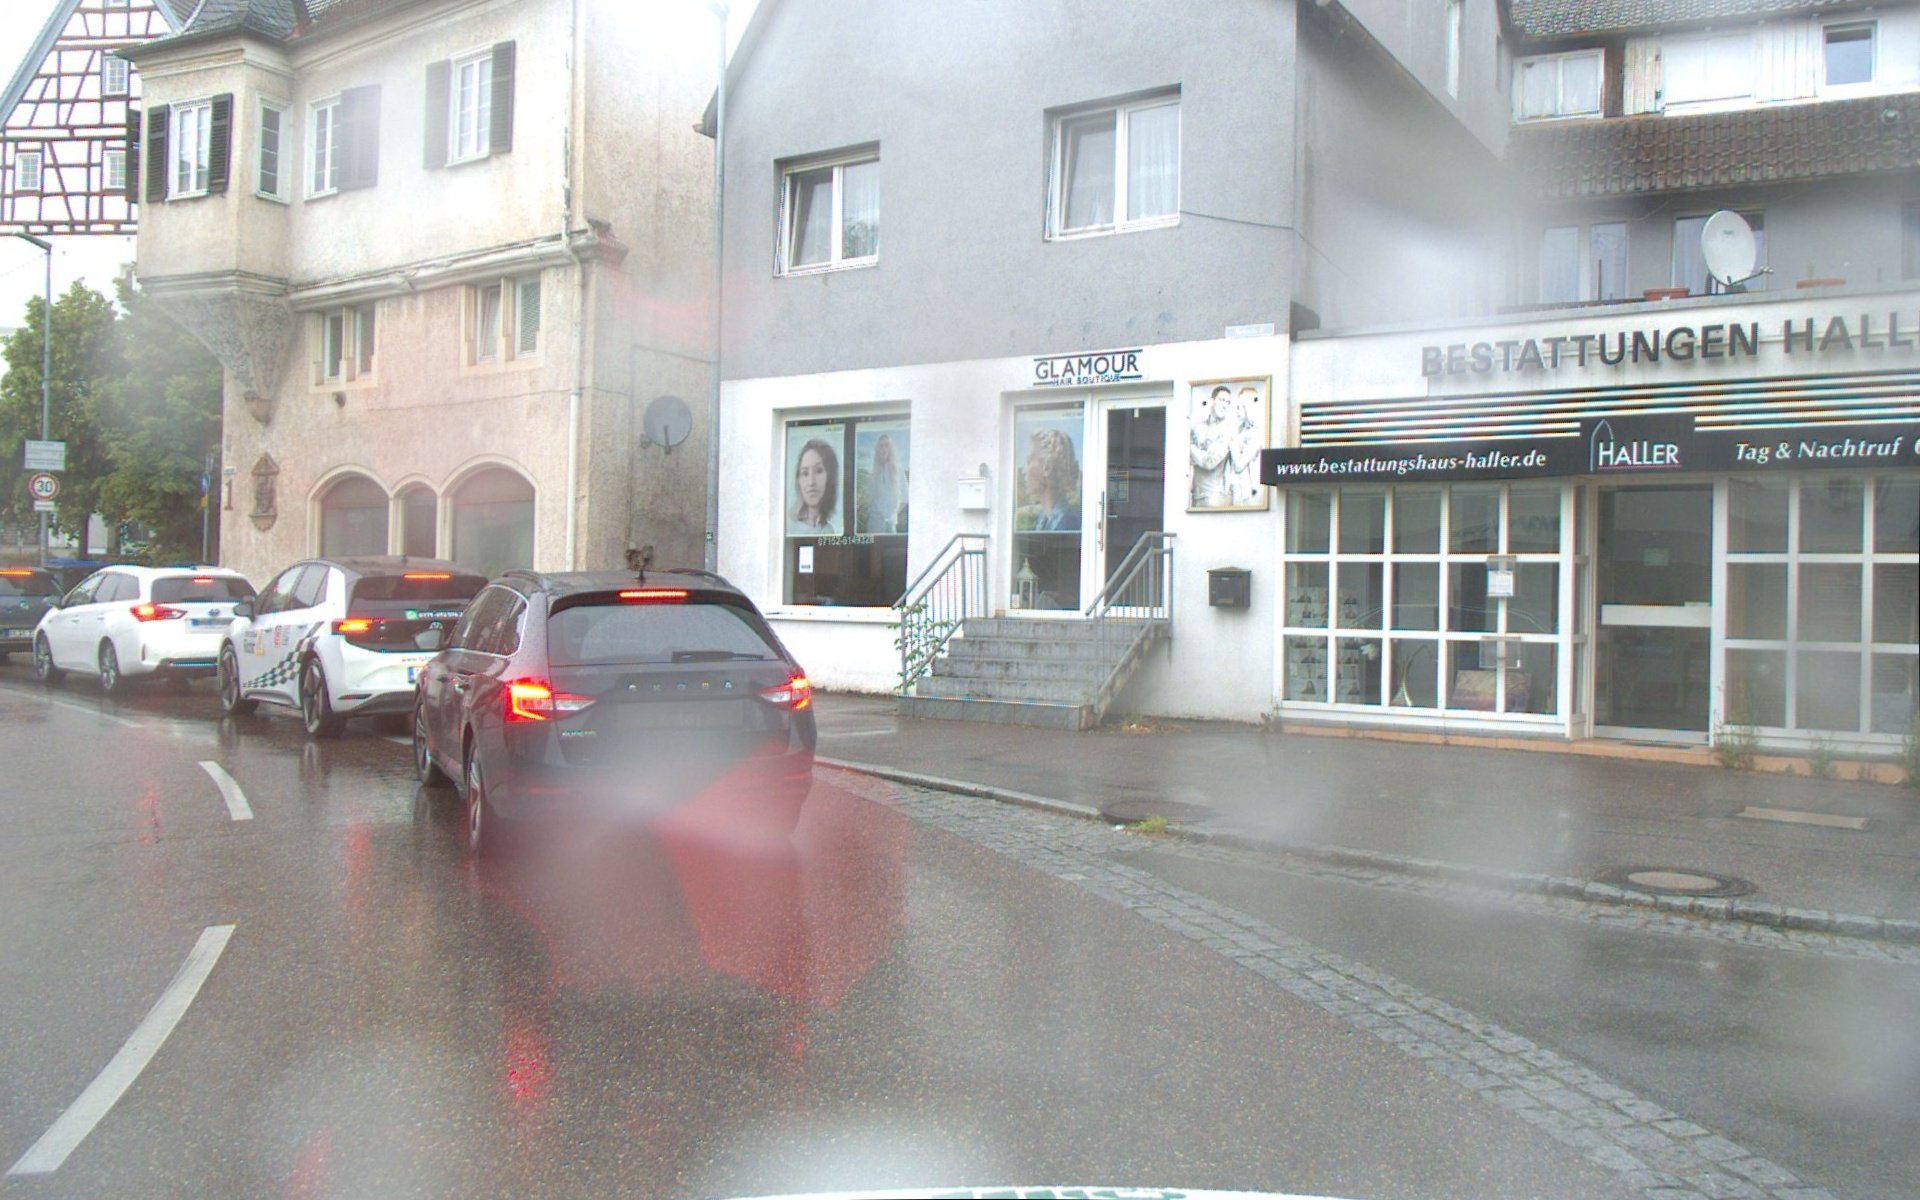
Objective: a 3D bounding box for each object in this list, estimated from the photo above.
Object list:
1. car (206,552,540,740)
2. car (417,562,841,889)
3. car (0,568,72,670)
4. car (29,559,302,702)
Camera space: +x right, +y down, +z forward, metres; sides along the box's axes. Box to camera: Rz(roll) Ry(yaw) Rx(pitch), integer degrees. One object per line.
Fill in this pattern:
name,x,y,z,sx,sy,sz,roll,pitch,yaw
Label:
car,-5.718,0.339,15.810,1.777,1.543,4.183,-1,1,-38
car,-2.195,0.533,9.955,1.709,1.475,4.212,0,2,-23
car,-14.899,0.245,24.954,3.701,1.385,1.514,2,3,42
car,-9.717,0.275,20.085,1.778,1.490,4.096,-1,3,-45
